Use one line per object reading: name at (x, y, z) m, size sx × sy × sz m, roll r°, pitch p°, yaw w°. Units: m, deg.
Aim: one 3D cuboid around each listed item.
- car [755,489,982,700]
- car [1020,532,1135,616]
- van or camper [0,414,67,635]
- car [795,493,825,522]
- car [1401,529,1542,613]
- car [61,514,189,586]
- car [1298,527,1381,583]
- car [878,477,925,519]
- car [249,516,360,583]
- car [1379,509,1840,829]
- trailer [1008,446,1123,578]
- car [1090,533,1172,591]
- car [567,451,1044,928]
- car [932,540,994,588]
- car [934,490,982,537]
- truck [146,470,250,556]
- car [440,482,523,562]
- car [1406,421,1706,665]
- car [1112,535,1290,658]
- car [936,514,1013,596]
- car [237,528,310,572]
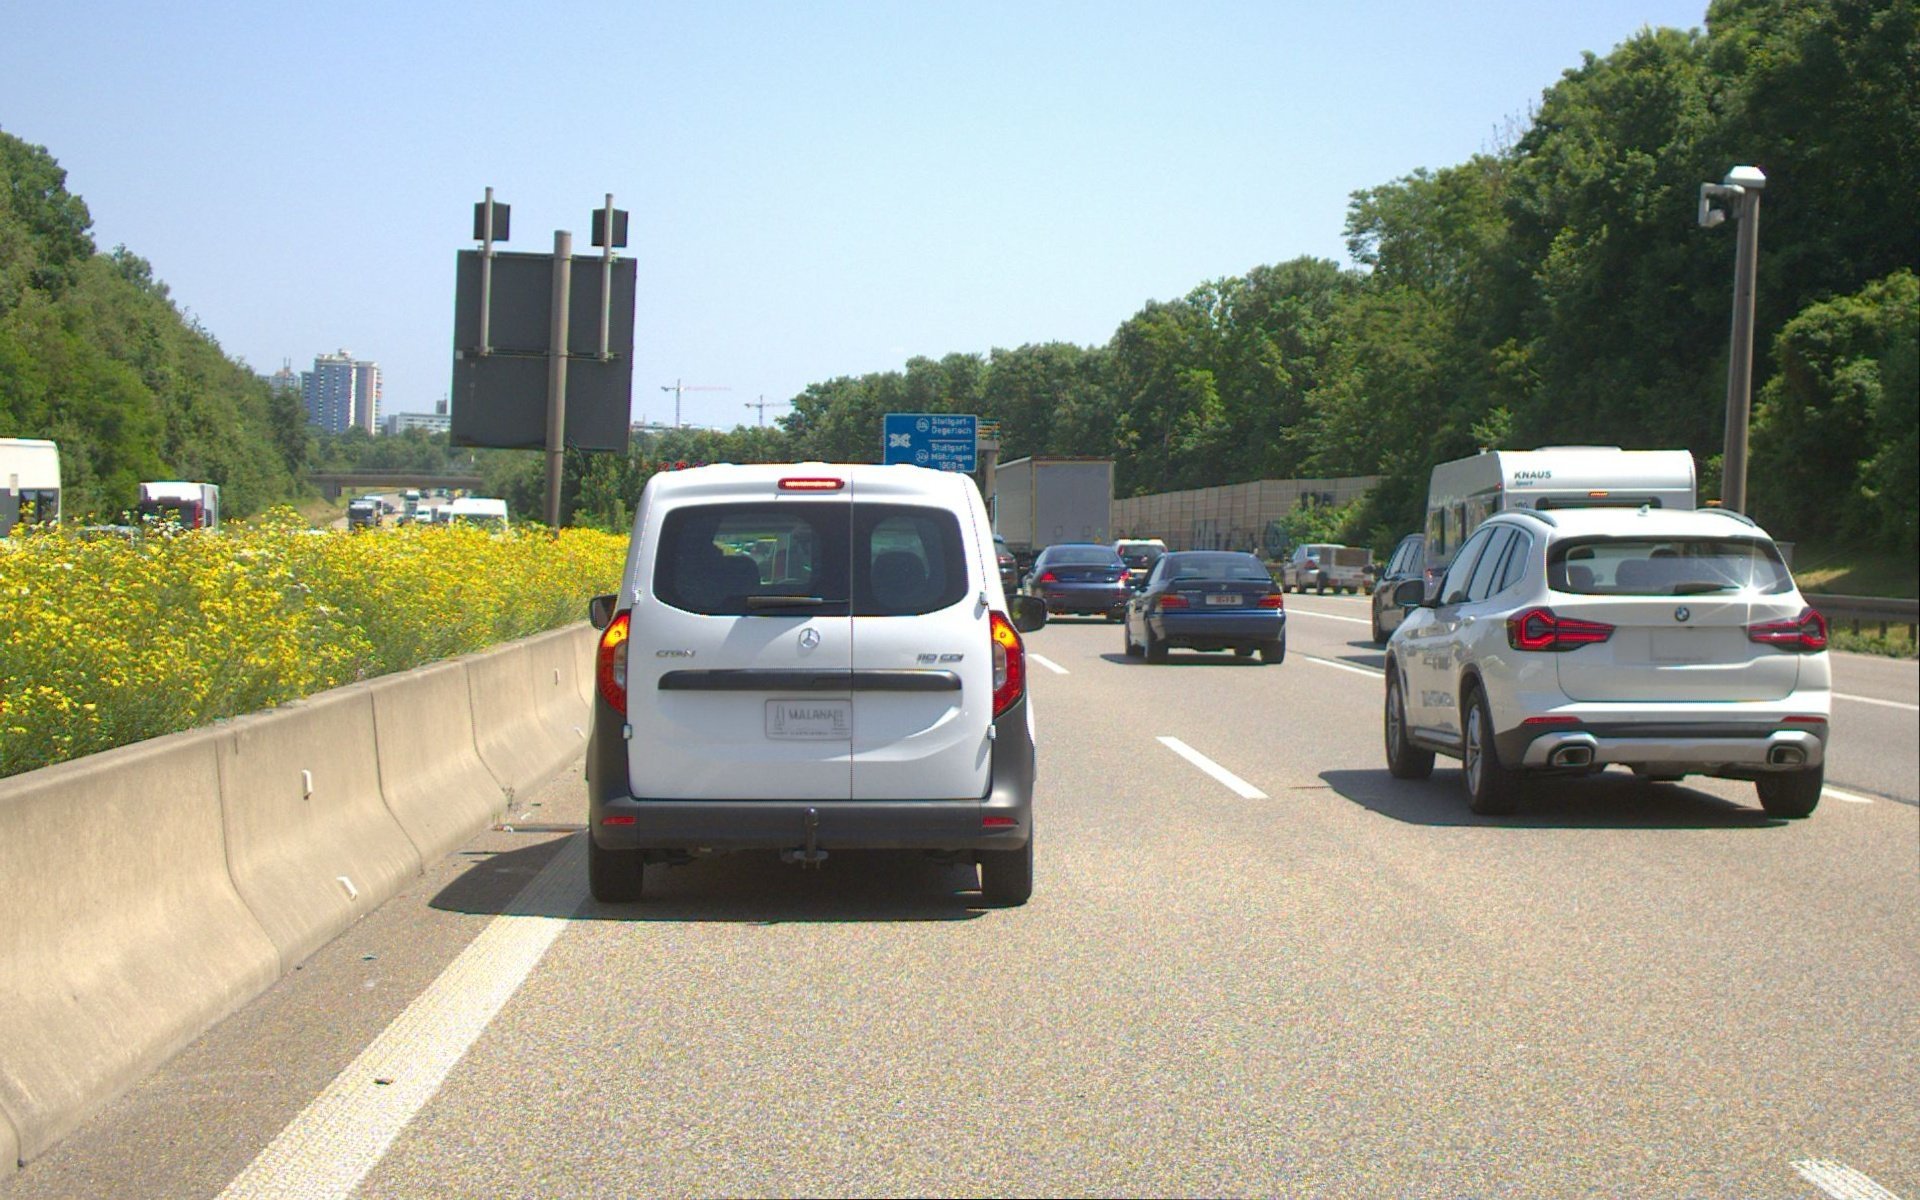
car at (-0.854, -0.092, 32.552) m, size 1.993 × 1.853 × 4.000 m, roll 1°, pitch 1°, yaw -1°
car at (2.057, -0.489, 61.283) m, size 1.824 × 1.419 × 4.000 m, roll 1°, pitch 1°, yaw -1°
van or camper at (-12.537, -0.903, 40.620) m, size 2.308 × 2.627 × 7.400 m, roll 1°, pitch 1°, yaw -2°
car at (-10.512, -6.463, 240.947) m, size 1.993 × 2.007 × 4.000 m, roll 1°, pitch 1°, yaw -1°
car at (9.088, -0.545, 61.346) m, size 1.824 × 1.419 × 4.000 m, roll 1°, pitch 1°, yaw -1°
car at (-18.961, -1.146, 78.246) m, size 1.993 × 1.569 × 4.000 m, roll 1°, pitch 1°, yaw -1°
car at (10.541, -1.261, 95.691) m, size 1.788 × 1.514 × 4.000 m, roll 1°, pitch 1°, yaw -1°
car at (-2.831, -4.935, 166.332) m, size 1.993 × 2.007 × 4.001 m, roll 0°, pitch 1°, yaw -5°
car at (-15.861, -1.231, 83.357) m, size 1.993 × 1.569 × 4.000 m, roll 1°, pitch 1°, yaw -1°
car at (3.591, 0.304, 19.706) m, size 1.871 × 1.602 × 3.879 m, roll 1°, pitch 2°, yaw 0°
trailer at (3.265, -2.785, 109.470) m, size 3.082 × 3.972 × 10.324 m, roll 1°, pitch 1°, yaw -1°
car at (4.404, -0.999, 88.953) m, size 1.824 × 1.419 × 4.000 m, roll 1°, pitch 1°, yaw -1°
car at (-0.652, 0.298, 15.116) m, size 1.802 × 1.802 × 4.001 m, roll 1°, pitch 1°, yaw -2°
car at (0.085, -1.131, 106.475) m, size 1.824 × 1.442 × 4.000 m, roll 1°, pitch 1°, yaw -1°
car at (-0.093, -3.763, 149.377) m, size 1.993 × 2.007 × 4.000 m, roll 0°, pitch 1°, yaw -1°
truck at (-27.697, -3.162, 125.160) m, size 2.406 × 2.995 × 7.460 m, roll 1°, pitch 1°, yaw -2°
car at (-15.565, -2.547, 112.070) m, size 1.993 × 2.533 × 5.909 m, roll 1°, pitch 1°, yaw -1°
car at (7.234, -0.717, 42.496) m, size 2.479 × 2.756 × 6.220 m, roll 1°, pitch 1°, yaw -1°
car at (2.933, -0.082, 42.531) m, size 1.824 × 1.419 × 4.000 m, roll 1°, pitch 1°, yaw -1°
car at (0.339, -1.129, 85.936) m, size 1.824 × 1.982 × 4.000 m, roll 1°, pitch 1°, yaw -1°
car at (-22.950, -1.687, 114.996) m, size 1.788 × 1.449 × 3.542 m, roll 1°, pitch 1°, yaw -1°
